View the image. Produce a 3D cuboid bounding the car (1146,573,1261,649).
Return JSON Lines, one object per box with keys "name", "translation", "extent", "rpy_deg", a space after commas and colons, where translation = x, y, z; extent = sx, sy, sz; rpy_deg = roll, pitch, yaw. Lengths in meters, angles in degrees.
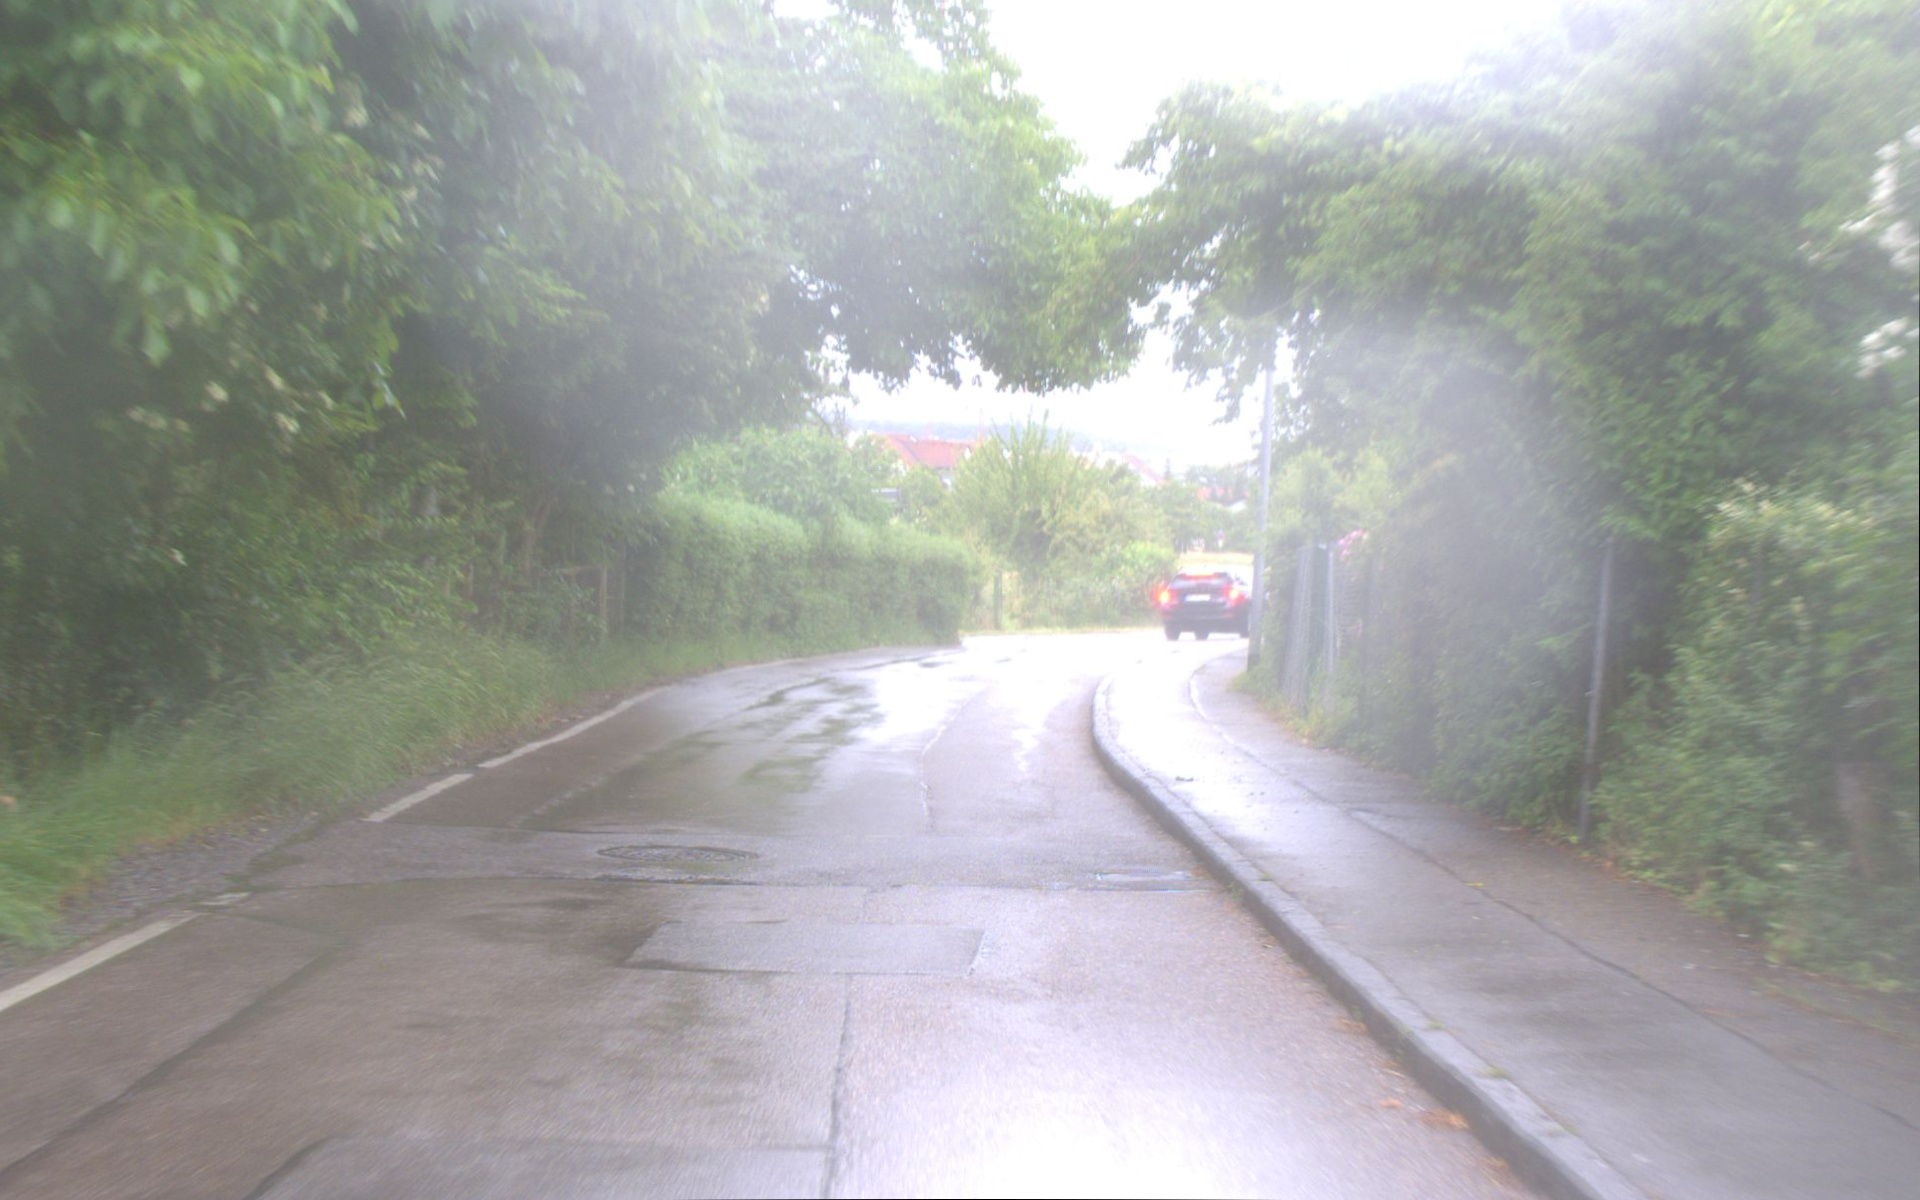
{"name": "car", "translation": [5.006, 0.241, 70.317], "extent": [1.636, 1.445, 3.541], "rpy_deg": [1, -1, 15]}
